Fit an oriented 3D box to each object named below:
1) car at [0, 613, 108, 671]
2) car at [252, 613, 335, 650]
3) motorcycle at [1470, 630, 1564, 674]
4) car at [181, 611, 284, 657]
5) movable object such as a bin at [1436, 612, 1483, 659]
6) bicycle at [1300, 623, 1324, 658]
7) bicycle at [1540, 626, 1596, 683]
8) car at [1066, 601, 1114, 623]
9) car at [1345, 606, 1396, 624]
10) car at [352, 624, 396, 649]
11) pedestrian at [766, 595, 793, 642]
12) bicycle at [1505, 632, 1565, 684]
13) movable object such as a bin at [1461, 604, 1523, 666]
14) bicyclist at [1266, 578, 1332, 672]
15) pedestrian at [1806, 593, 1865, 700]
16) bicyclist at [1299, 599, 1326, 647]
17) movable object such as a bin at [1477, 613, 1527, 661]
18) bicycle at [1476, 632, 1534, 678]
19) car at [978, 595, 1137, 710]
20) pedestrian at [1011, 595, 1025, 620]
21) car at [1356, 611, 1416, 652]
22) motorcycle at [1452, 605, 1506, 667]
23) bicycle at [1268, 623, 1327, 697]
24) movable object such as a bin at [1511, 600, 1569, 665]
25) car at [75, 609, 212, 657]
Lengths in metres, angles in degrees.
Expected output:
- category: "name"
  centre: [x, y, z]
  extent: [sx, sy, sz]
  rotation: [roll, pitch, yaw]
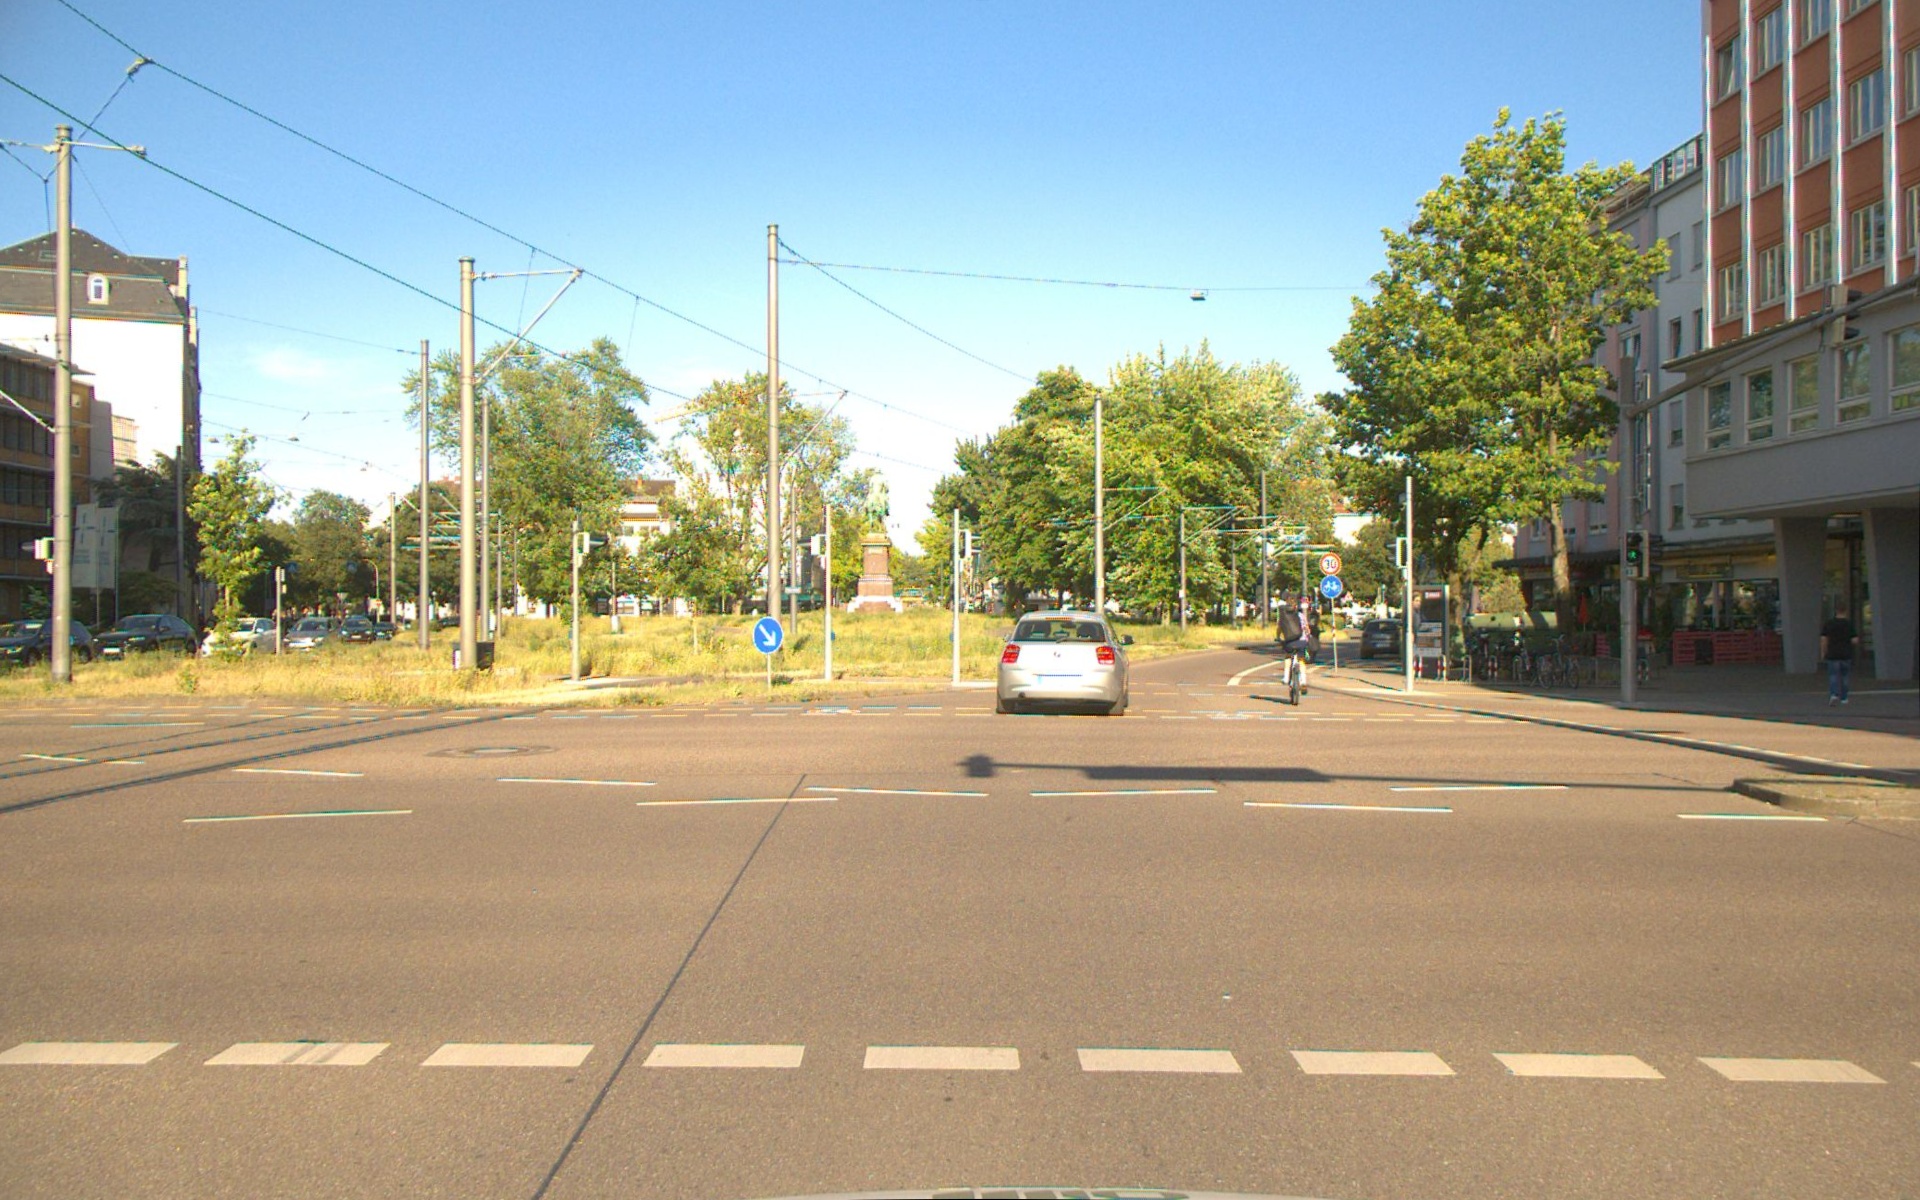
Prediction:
- category: "car"
  centre: [-26.426, 1.159, 47.162]
  extent: [1.954, 1.544, 4.659]
  rotation: [2, -1, -3]
- category: "car"
  centre: [-27.510, 1.284, 68.395]
  extent: [1.955, 1.452, 4.504]
  rotation: [2, -1, -6]
- category: "motorcycle"
  centre: [13.827, 1.287, 41.090]
  extent: [2.053, 1.039, 0.762]
  rotation: [1, 0, -1]
- category: "car"
  centre: [-27.312, 1.268, 62.253]
  extent: [1.954, 1.624, 4.653]
  rotation: [2, -1, -3]
- category: "movable object such as a bin"
  centre: [15.372, 1.094, 50.937]
  extent: [1.148, 1.380, 0.927]
  rotation: [2, -1, 0]
- category: "bicycle"
  centre: [12.535, 1.446, 58.891]
  extent: [0.802, 1.206, 1.966]
  rotation: [1, -1, 12]
- category: "bicycle"
  centre: [14.119, 1.247, 38.422]
  extent: [0.521, 1.266, 1.846]
  rotation: [2, -1, -3]
- category: "car"
  centre: [14.478, 1.334, 184.357]
  extent: [5.227, 2.354, 2.000]
  rotation: [2, -1, -1]
- category: "car"
  centre: [46.089, 1.651, 185.669]
  extent: [5.160, 1.831, 2.161]
  rotation: [2, -1, -4]
- category: "car"
  centre: [-41.078, 2.592, 116.013]
  extent: [1.955, 1.540, 4.276]
  rotation: [1, -4, -6]
- category: "pedestrian"
  centre: [-6.633, 0.685, 60.714]
  extent: [0.719, 1.700, 0.744]
  rotation: [0, -1, 24]
- category: "bicycle"
  centre: [13.176, 1.305, 37.960]
  extent: [0.466, 1.136, 2.118]
  rotation: [2, -1, -5]
- category: "movable object such as a bin"
  centre: [14.634, 0.960, 45.496]
  extent: [1.353, 1.668, 1.007]
  rotation: [1, -1, -2]
- category: "bicyclist"
  centre: [5.654, 0.423, 27.557]
  extent: [1.016, 1.510, 0.989]
  rotation: [1, -1, 13]
- category: "pedestrian"
  centre: [15.870, 0.834, 29.995]
  extent: [0.809, 1.877, 0.891]
  rotation: [1, -1, 20]
- category: "bicyclist"
  centre: [12.559, 0.832, 58.953]
  extent: [0.919, 1.662, 0.936]
  rotation: [1, -1, 12]
- category: "movable object such as a bin"
  centre: [16.745, 1.141, 51.113]
  extent: [1.188, 1.415, 0.959]
  rotation: [2, -1, 0]
- category: "bicycle"
  centre: [12.483, 1.255, 37.940]
  extent: [0.466, 1.002, 2.118]
  rotation: [2, -1, -5]
- category: "car"
  centre: [1.494, 0.729, 23.764]
  extent: [1.951, 1.448, 4.199]
  rotation: [1, -1, 8]
- category: "pedestrian"
  centre: [3.739, 0.488, 106.680]
  extent: [0.665, 1.644, 0.550]
  rotation: [2, -1, -30]
- category: "car"
  centre: [16.012, 1.159, 62.056]
  extent: [1.729, 1.463, 4.584]
  rotation: [-1, 0, 20]
- category: "motorcycle"
  centre: [13.508, 0.917, 43.108]
  extent: [0.785, 1.566, 2.546]
  rotation: [1, 0, 5]
- category: "bicycle"
  centre: [5.652, 0.980, 27.605]
  extent: [0.867, 1.156, 2.230]
  rotation: [1, -1, 13]
- category: "movable object such as a bin"
  centre: [15.940, 0.892, 45.457]
  extent: [1.230, 1.739, 0.945]
  rotation: [0, -2, -2]
- category: "car"
  centre: [-27.066, 1.095, 55.054]
  extent: [1.952, 1.473, 5.020]
  rotation: [2, -1, 1]
